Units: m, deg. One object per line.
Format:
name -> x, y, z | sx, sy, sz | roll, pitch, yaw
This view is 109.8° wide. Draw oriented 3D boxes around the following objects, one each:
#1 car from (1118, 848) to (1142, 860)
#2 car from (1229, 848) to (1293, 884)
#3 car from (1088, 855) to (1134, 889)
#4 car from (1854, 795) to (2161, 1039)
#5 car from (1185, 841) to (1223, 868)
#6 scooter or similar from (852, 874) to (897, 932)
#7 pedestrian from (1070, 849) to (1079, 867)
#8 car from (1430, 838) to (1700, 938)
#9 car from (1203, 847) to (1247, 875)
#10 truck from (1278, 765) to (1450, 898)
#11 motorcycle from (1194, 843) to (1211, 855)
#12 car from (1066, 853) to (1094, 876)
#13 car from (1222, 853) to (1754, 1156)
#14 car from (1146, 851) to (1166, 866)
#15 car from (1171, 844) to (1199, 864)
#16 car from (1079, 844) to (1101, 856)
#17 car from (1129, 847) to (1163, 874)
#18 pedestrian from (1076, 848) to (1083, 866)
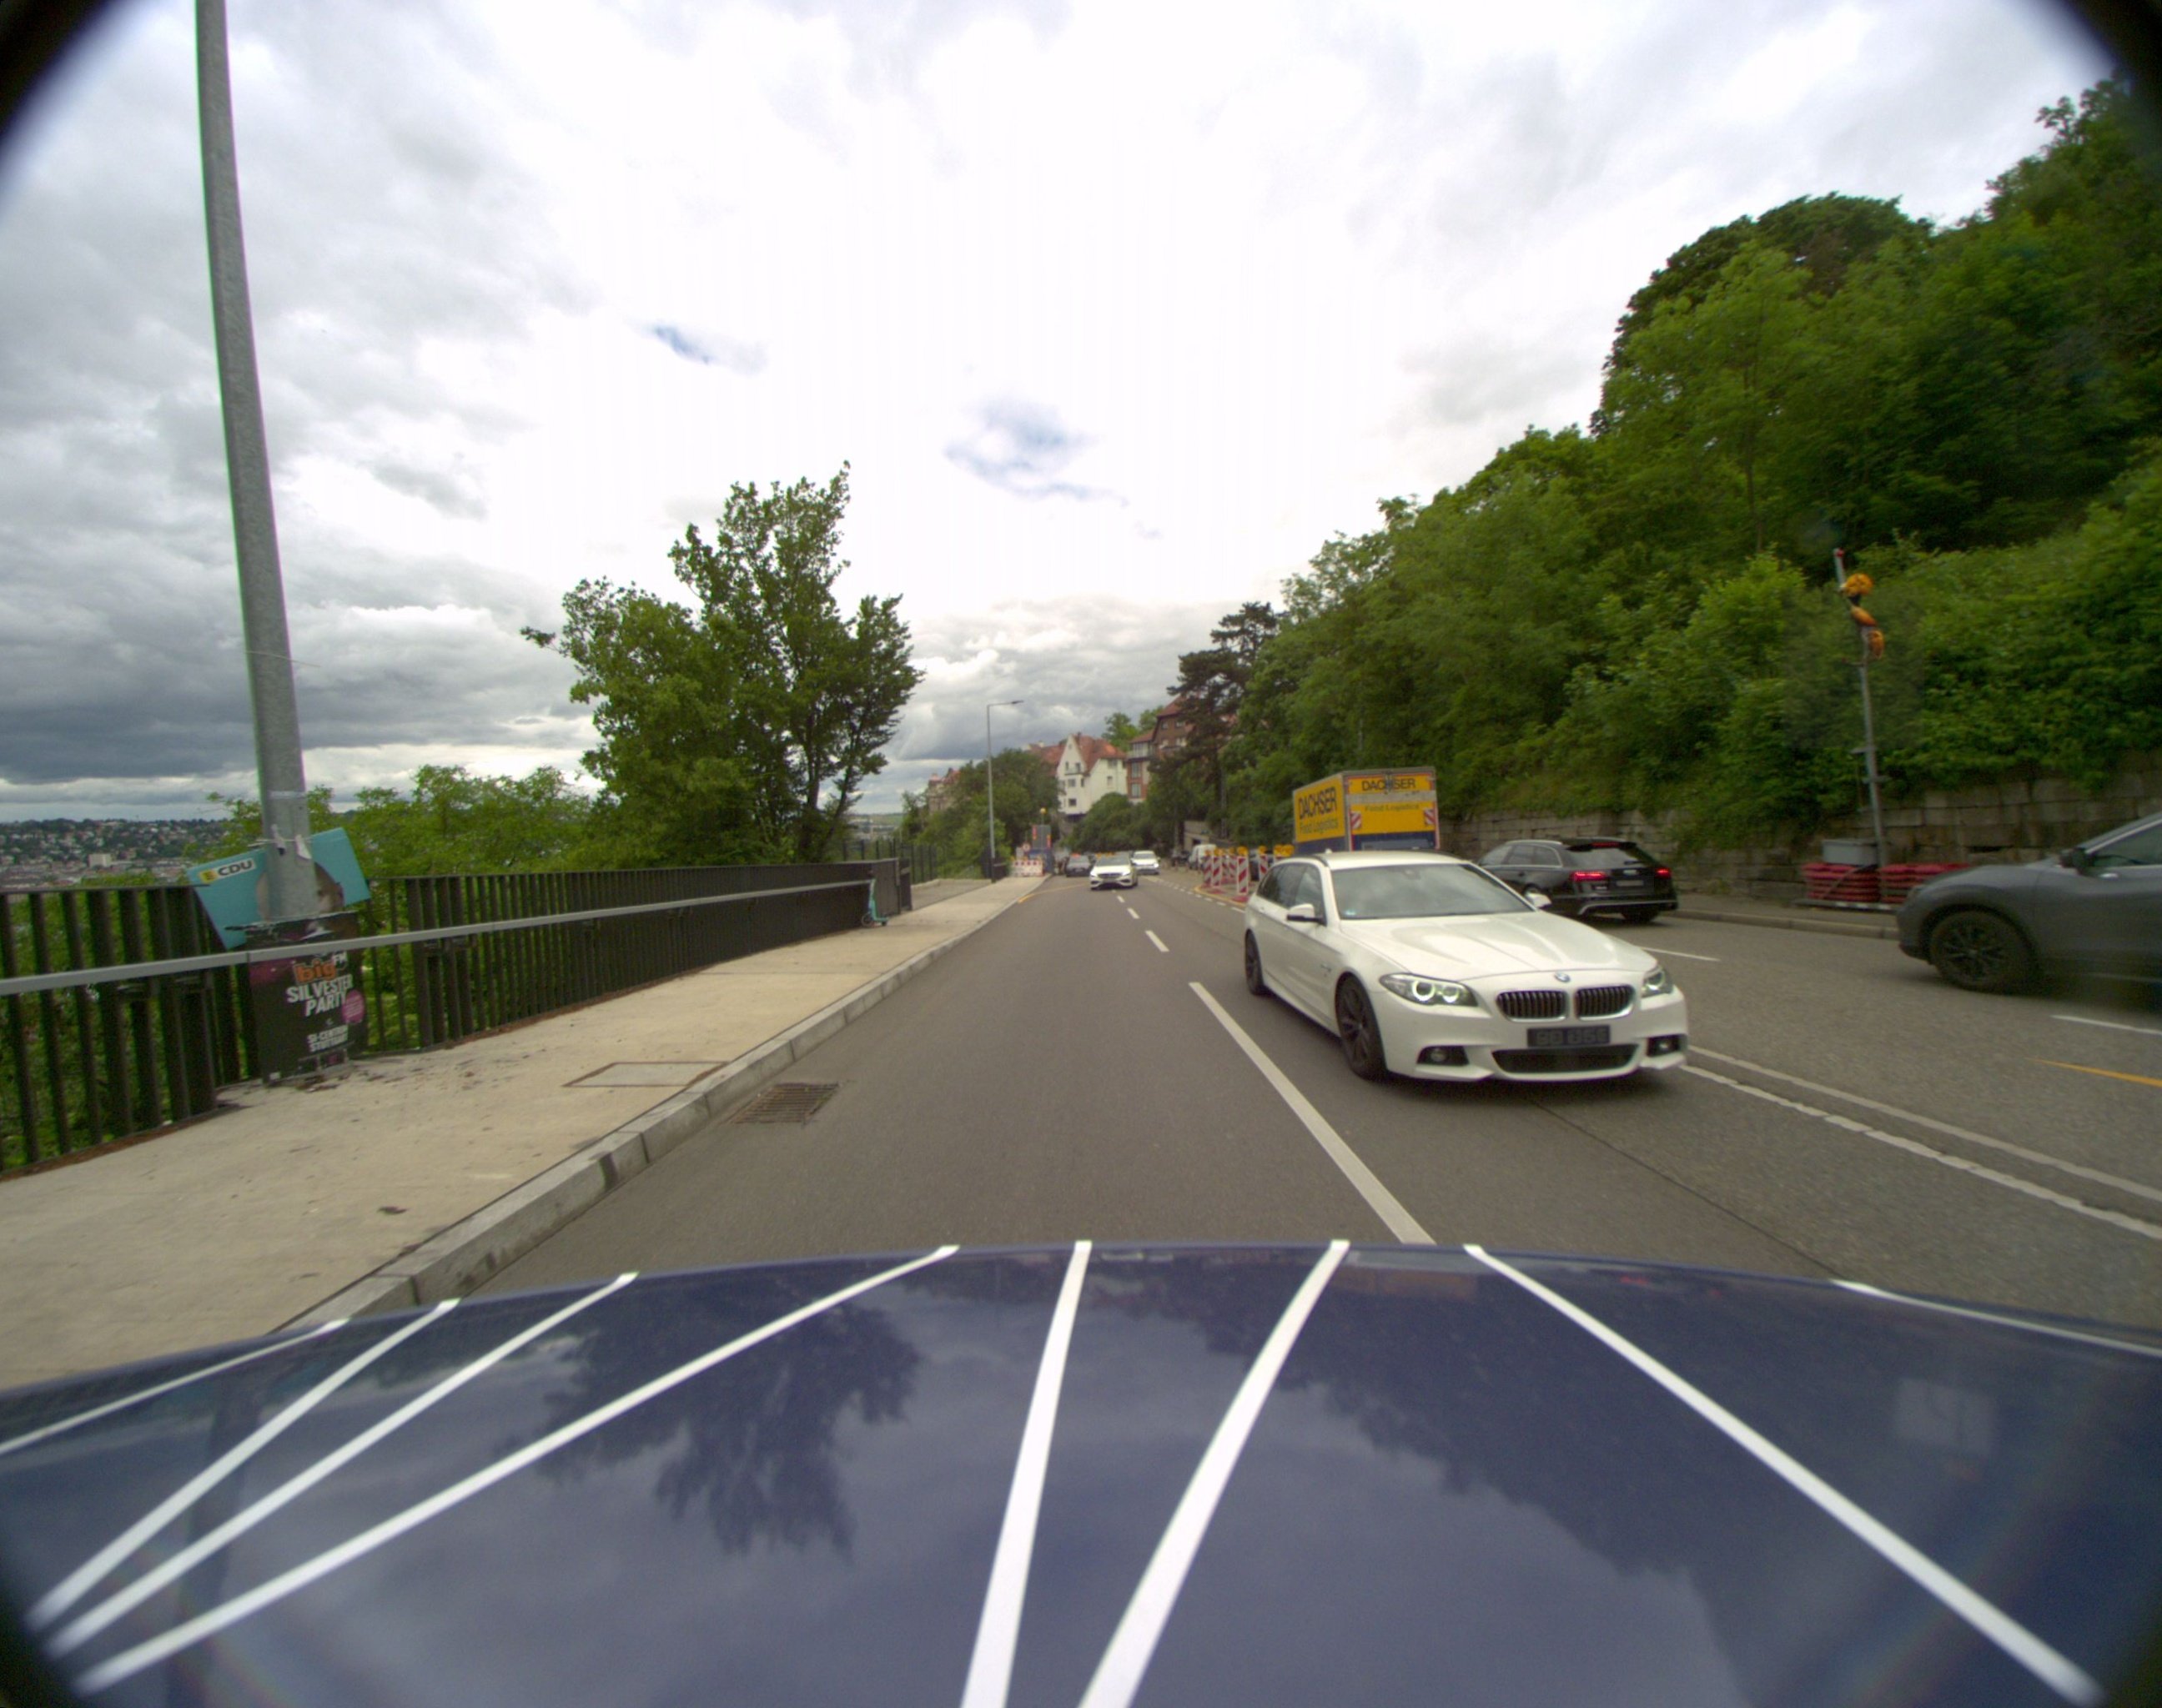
car -> 6.522, -0.016, 101.574 | 1.825, 1.426, 3.710 | -7, 2, -16
car -> 8.272, 0.493, 35.327 | 1.775, 1.433, 4.745 | -4, 1, 0
car -> 1.317, 0.718, 32.805 | 1.797, 1.299, 4.101 | -2, 0, 3
car -> 8.367, 0.391, 4.945 | 1.888, 1.687, 4.671 | -3, 0, 0
car -> 8.879, -0.001, 55.075 | 1.807, 1.780, 4.341 | -4, 1, -1
scooter or similar -> -4.546, 1.068, 16.803 | 0.535, 1.219, 1.207 | 0, 0, 7
pedestrian -> -0.652, 0.429, 79.604 | 0.620, 1.873, 0.717 | 0, -2, -40
car -> 8.417, 0.510, 13.896 | 1.814, 1.421, 4.874 | -3, 0, 0
car -> 8.855, 0.393, 46.946 | 1.796, 1.499, 4.311 | -4, 1, 0
truck -> 8.610, -0.636, 24.235 | 2.738, 3.490, 7.349 | -2, 1, 1
motorcycle -> 14.102, -0.613, 87.944 | 1.843, 1.177, 0.636 | -4, 5, 3
car -> -0.057, 0.688, 53.834 | 1.844, 1.447, 4.627 | -3, 0, 1
car -> 2.616, 0.795, 6.464 | 1.852, 1.458, 4.878 | -4, 1, 0
car -> 8.547, 0.498, 86.512 | 1.833, 1.476, 4.317 | -4, 1, 1
car -> 9.279, -0.047, 68.327 | 1.835, 1.583, 4.654 | -4, 1, 1
car -> 1.410, -0.582, 116.099 | 1.771, 1.587, 3.784 | -8, 2, -23
car -> 4.291, 0.402, 50.392 | 1.885, 1.569, 4.000 | -4, 1, 1
pedestrian -> -0.161, 0.269, 77.422 | 0.640, 1.848, 0.834 | 0, 0, -11
